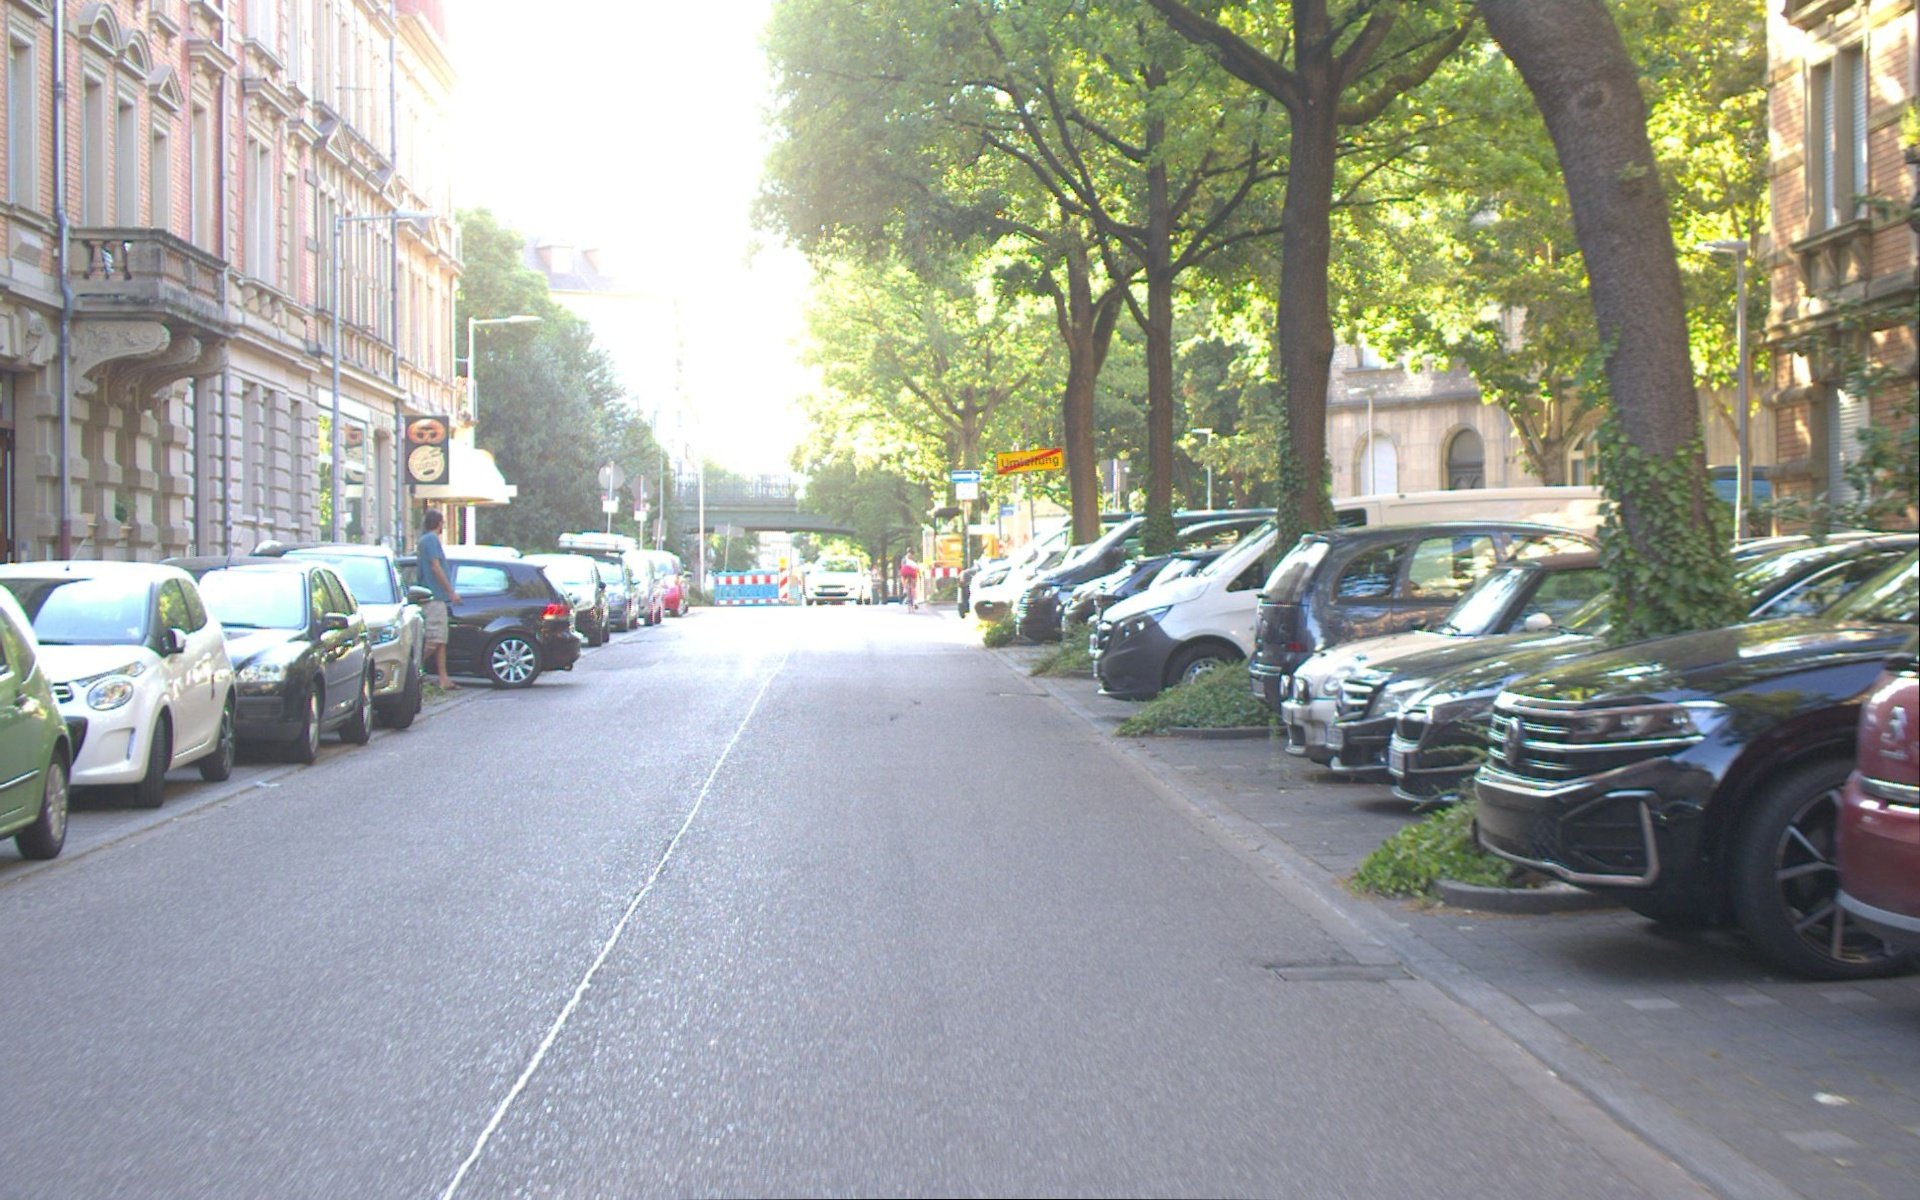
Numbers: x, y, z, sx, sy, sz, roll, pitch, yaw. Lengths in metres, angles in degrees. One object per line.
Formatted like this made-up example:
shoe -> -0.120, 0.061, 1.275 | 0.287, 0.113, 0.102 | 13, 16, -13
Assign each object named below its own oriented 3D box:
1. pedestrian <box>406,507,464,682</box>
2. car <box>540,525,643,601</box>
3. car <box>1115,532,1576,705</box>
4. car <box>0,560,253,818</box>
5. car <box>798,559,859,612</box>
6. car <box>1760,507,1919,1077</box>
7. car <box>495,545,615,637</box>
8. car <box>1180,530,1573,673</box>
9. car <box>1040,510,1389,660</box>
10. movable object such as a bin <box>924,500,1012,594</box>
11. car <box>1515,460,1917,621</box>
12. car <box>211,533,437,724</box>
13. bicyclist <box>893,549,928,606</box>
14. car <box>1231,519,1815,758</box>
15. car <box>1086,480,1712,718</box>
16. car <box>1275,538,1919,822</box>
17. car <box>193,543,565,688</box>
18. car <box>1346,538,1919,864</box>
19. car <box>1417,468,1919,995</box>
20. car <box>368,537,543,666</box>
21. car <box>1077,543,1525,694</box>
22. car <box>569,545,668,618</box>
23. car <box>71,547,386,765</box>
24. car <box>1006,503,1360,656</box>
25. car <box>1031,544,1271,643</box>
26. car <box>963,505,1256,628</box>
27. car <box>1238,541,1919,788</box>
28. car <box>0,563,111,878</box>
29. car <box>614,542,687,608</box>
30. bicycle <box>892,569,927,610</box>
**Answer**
pedestrian -> -5.725, -0.065, 37.481 | 0.590, 1.881, 0.640 | -1, 1, -10
car -> -7.139, -0.733, 66.901 | 1.764, 1.432, 4.301 | 0, 1, -3
car -> 3.624, 0.152, 32.665 | 3.986, 1.469, 1.782 | -2, 1, -9
car -> -5.663, 0.497, 22.005 | 1.581, 1.468, 4.001 | -1, 1, -2
car -> -3.876, -0.433, 101.467 | 1.749, 1.504, 4.000 | 0, 1, -2
car -> 4.608, 0.499, 10.190 | 3.986, 1.585, 1.783 | -1, 1, -5
car -> -6.646, -0.170, 56.743 | 1.703, 1.449, 4.021 | 0, 1, -3
car -> 4.562, 0.001, 38.073 | 4.081, 1.492, 1.843 | -1, 1, -1
car -> 3.284, -0.215, 44.890 | 4.267, 1.878, 1.940 | -1, 1, -5
movable object such as a bin -> 0.262, -1.537, 100.264 | 1.994, 2.690, 3.109 | 0, 0, 12
car -> 12.176, -0.954, 55.585 | 5.893, 2.528, 2.381 | 0, 1, -7
car -> -5.731, 0.207, 31.347 | 1.647, 1.569, 4.050 | 2, 1, -6
bicyclist -> -1.218, -0.545, 83.694 | 0.803, 1.378, 0.985 | 1, 1, -2
car -> 4.066, 0.252, 25.153 | 3.883, 1.643, 1.725 | -1, 1, -6
car -> 3.712, 0.025, 29.836 | 5.091, 1.933, 2.158 | 0, -3, -1
car -> 4.344, 0.406, 19.907 | 4.658, 1.498, 1.933 | -1, 1, -11
car -> -6.452, 0.149, 38.493 | 3.986, 1.524, 1.826 | -1, 1, -7
car -> 4.341, 0.455, 17.351 | 4.552, 1.524, 2.000 | 0, 1, 0
car -> 4.181, 0.352, 12.483 | 4.644, 1.696, 1.882 | -2, 1, -5
car -> -6.422, -0.016, 44.100 | 1.741, 1.562, 3.895 | 0, 1, -1
car -> 3.446, 0.165, 35.331 | 4.369, 1.450, 1.934 | -1, 1, -1
car -> -7.144, -0.403, 72.127 | 1.725, 1.432, 3.996 | 2, 1, -1
car -> -5.513, 0.366, 26.338 | 1.647, 1.468, 4.001 | 2, 1, -2
car -> 3.017, -0.292, 47.149 | 4.614, 2.007, 2.000 | -1, 1, -4
car -> 3.150, -0.117, 57.245 | 3.840, 1.590, 1.741 | 0, 1, -2
car -> 2.574, -0.597, 60.124 | 4.973, 2.089, 2.106 | 0, 1, -1
car -> 4.010, 0.381, 22.398 | 4.104, 1.498, 1.811 | -1, 1, -6
car -> -5.292, 0.565, 16.152 | 1.705, 1.434, 3.959 | -1, 1, -1
car -> -7.397, -0.604, 82.456 | 1.669, 1.525, 4.001 | 0, 1, -4
bicycle -> -1.234, -0.264, 83.752 | 0.803, 0.965, 2.109 | 1, 1, -2
